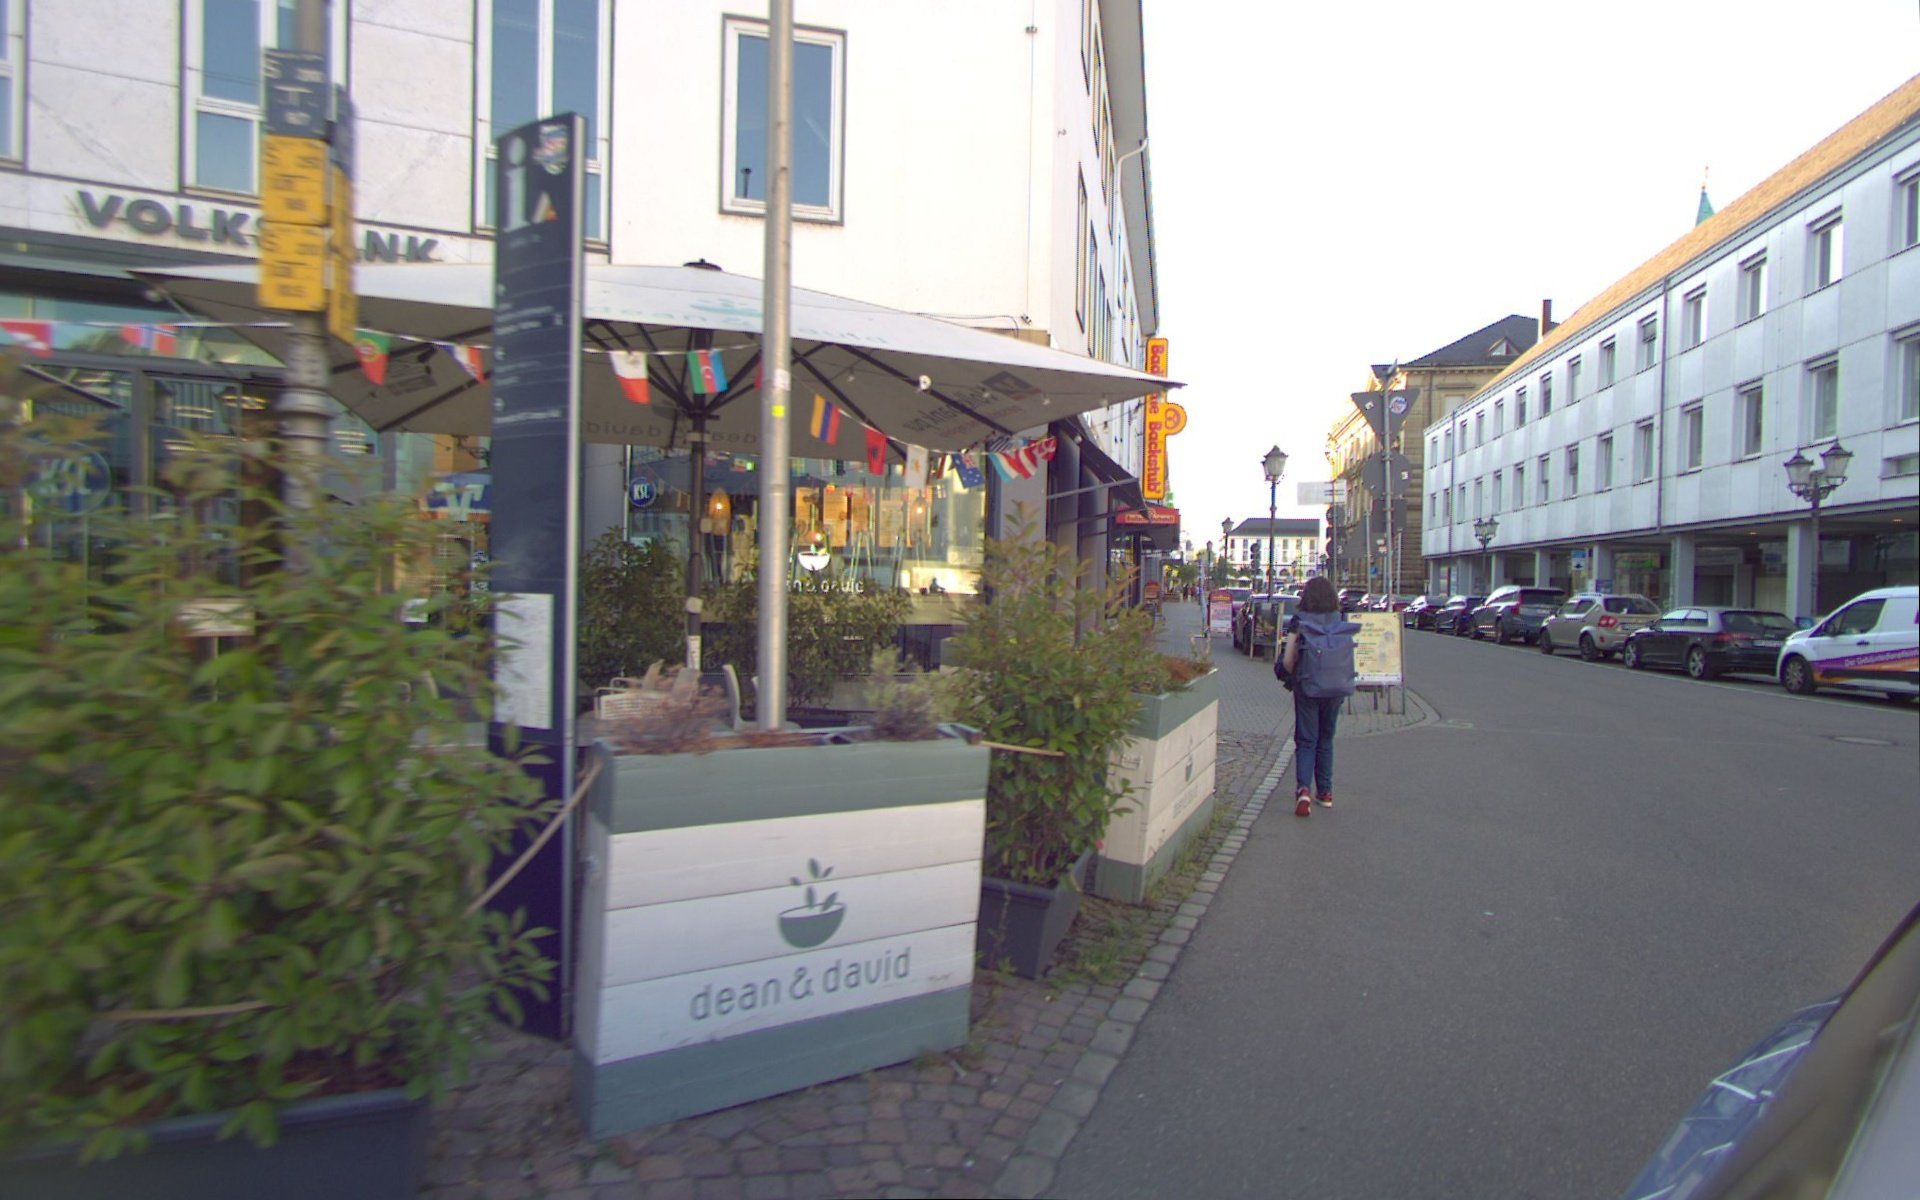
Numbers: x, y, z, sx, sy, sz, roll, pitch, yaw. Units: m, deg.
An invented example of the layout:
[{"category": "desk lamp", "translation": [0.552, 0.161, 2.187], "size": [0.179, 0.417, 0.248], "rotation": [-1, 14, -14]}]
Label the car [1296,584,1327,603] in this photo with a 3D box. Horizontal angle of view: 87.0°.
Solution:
[{"category": "car", "translation": [29.032, -0.567, 83.678], "size": [1.970, 1.513, 4.149], "rotation": [1, 2, 13]}]

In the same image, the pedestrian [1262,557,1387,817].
[{"category": "pedestrian", "translation": [2.475, 0.552, 6.946], "size": [0.682, 1.668, 0.693], "rotation": [1, 1, 12]}]

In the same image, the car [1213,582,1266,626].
[{"category": "car", "translation": [10.472, 0.111, 38.153], "size": [1.739, 1.542, 3.663], "rotation": [1, 1, 13]}]

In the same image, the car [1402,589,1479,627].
[{"category": "car", "translation": [19.782, 0.273, 41.854], "size": [1.970, 1.371, 3.985], "rotation": [3, 2, 13]}]

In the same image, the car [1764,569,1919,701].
[{"category": "car", "translation": [14.447, 0.480, 14.736], "size": [1.965, 1.838, 4.777], "rotation": [1, 1, 6]}]

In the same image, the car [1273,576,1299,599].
[{"category": "car", "translation": [32.706, -1.280, 101.527], "size": [1.970, 2.113, 5.187], "rotation": [1, 2, 13]}]

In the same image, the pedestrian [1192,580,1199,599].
[{"category": "pedestrian", "translation": [22.603, -0.987, 97.095], "size": [0.613, 1.812, 0.909], "rotation": [1, 1, 16]}]

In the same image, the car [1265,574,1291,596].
[{"category": "car", "translation": [33.966, -1.626, 108.267], "size": [1.968, 2.198, 5.192], "rotation": [1, 1, 10]}]

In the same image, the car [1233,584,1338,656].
[{"category": "car", "translation": [7.707, 0.406, 24.283], "size": [1.778, 1.482, 4.106], "rotation": [2, 1, 10]}]

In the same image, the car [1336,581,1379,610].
[{"category": "car", "translation": [23.254, -0.296, 59.328], "size": [1.764, 1.635, 4.149], "rotation": [1, 1, 13]}]

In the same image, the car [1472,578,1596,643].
[{"category": "car", "translation": [17.263, 0.240, 30.700], "size": [1.970, 1.749, 4.498], "rotation": [2, 1, 13]}]

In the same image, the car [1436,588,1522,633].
[{"category": "car", "translation": [18.440, 0.345, 36.146], "size": [1.653, 1.417, 3.986], "rotation": [2, 1, 12]}]

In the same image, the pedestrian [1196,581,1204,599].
[{"category": "pedestrian", "translation": [23.533, -0.947, 99.238], "size": [0.741, 1.751, 0.876], "rotation": [1, 1, 19]}]

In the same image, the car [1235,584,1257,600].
[{"category": "car", "translation": [27.538, -0.819, 97.506], "size": [1.742, 1.439, 3.987], "rotation": [2, 2, 11]}]

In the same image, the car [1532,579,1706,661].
[{"category": "car", "translation": [15.805, 0.395, 24.558], "size": [1.967, 1.682, 3.991], "rotation": [2, 2, 9]}]

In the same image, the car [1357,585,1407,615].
[{"category": "car", "translation": [22.057, -0.023, 53.007], "size": [1.764, 1.426, 4.072], "rotation": [1, 1, 13]}]

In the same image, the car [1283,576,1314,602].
[{"category": "car", "translation": [30.095, -0.996, 90.167], "size": [1.969, 2.103, 4.974], "rotation": [1, 2, 12]}]

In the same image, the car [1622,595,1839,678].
[{"category": "car", "translation": [14.914, 0.631, 19.898], "size": [1.656, 1.370, 4.094], "rotation": [1, 1, 10]}]

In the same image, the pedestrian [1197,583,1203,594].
[{"category": "pedestrian", "translation": [33.308, -1.579, 140.450], "size": [0.673, 1.586, 0.651], "rotation": [1, 1, 11]}]

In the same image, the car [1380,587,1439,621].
[{"category": "car", "translation": [20.761, 0.158, 46.880], "size": [1.764, 1.426, 4.072], "rotation": [1, 1, 13]}]
